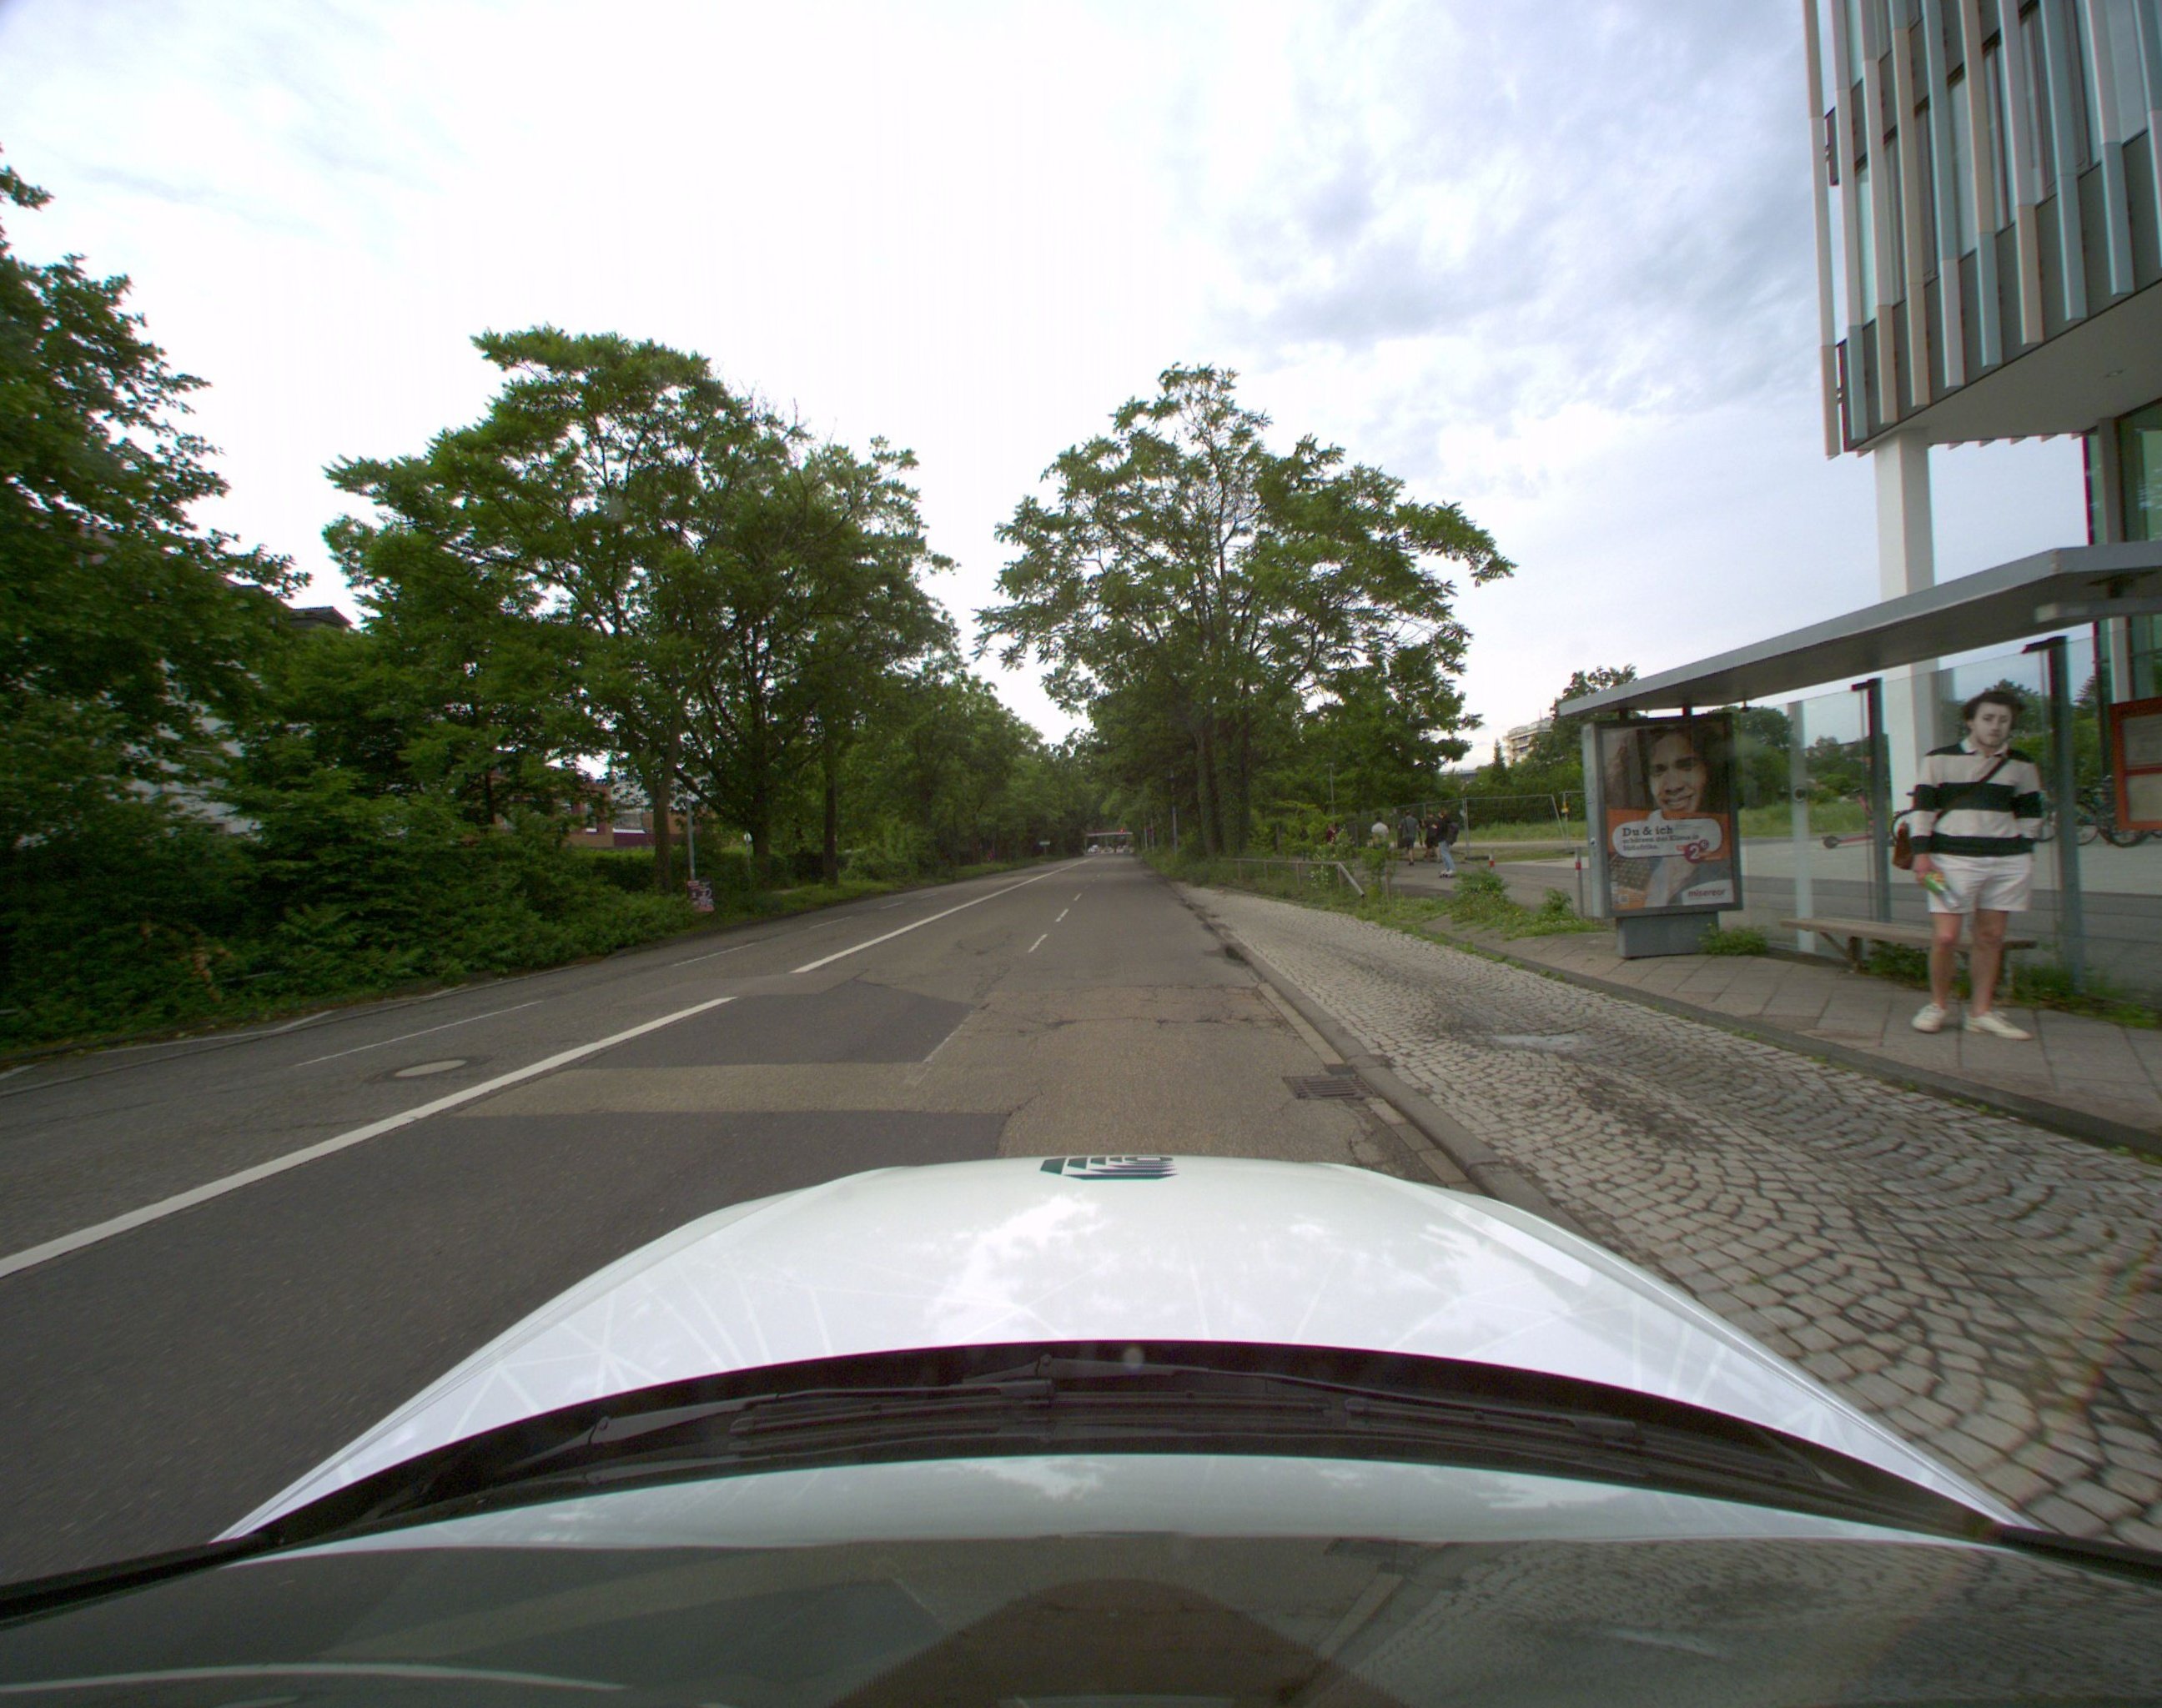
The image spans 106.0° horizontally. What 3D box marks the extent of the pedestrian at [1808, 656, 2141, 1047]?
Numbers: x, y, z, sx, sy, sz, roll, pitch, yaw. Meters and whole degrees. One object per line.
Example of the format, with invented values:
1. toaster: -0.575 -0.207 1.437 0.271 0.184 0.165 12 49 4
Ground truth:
1. pedestrian: 5.166 -0.020 4.782 0.909 2.013 0.854 -6 2 2

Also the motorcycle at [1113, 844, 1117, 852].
1. motorcycle: 8.694 -1.517 207.822 0.986 1.936 2.671 -2 0 3

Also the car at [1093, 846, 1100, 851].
1. car: 4.757 -1.736 251.094 1.983 1.354 3.901 -2 0 6

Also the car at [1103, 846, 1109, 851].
1. car: 7.716 -1.758 251.293 1.668 1.362 3.924 -2 0 3

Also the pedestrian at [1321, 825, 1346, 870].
1. pedestrian: 11.786 -0.320 38.018 0.820 2.013 0.721 -4 0 2

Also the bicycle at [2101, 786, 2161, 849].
1. bicycle: 16.141 -0.582 11.920 1.599 0.874 0.557 -5 0 3

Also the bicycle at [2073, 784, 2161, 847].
1. bicycle: 16.421 -0.612 12.494 1.599 0.874 0.557 -5 0 3

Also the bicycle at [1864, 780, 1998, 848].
1. bicycle: 16.124 -0.747 15.471 1.788 1.081 0.626 -6 0 1

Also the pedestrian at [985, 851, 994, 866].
1. pedestrian: -9.995 0.488 89.101 0.788 1.613 0.849 -2 0 3

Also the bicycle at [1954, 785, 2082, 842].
1. bicycle: 16.445 -0.704 14.312 1.601 0.874 0.556 -4 0 -1

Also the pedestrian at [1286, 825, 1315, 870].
1. pedestrian: 10.374 -0.300 38.516 0.923 2.013 1.039 -4 0 -2

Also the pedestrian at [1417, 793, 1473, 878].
1. pedestrian: 9.039 -0.441 20.247 0.840 2.013 0.893 -4 0 -3

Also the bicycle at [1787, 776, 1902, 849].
1. bicycle: 16.142 -0.858 17.252 1.635 1.333 0.465 -6 -1 16

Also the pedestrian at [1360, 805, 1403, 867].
1. pedestrian: 10.186 -0.611 27.636 0.923 2.013 1.039 -4 0 -2

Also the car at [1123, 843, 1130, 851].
1. car: 11.369 -1.693 204.116 1.836 2.013 4.003 -2 0 3

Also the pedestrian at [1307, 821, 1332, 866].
1. pedestrian: 11.091 -0.470 37.848 0.821 2.013 0.721 -5 0 2

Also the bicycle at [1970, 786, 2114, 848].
1. bicycle: 15.884 -0.602 13.482 1.599 0.874 0.557 -5 0 3

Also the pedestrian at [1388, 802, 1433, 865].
1. pedestrian: 11.069 -0.668 27.398 0.923 2.013 1.039 -4 0 -2
